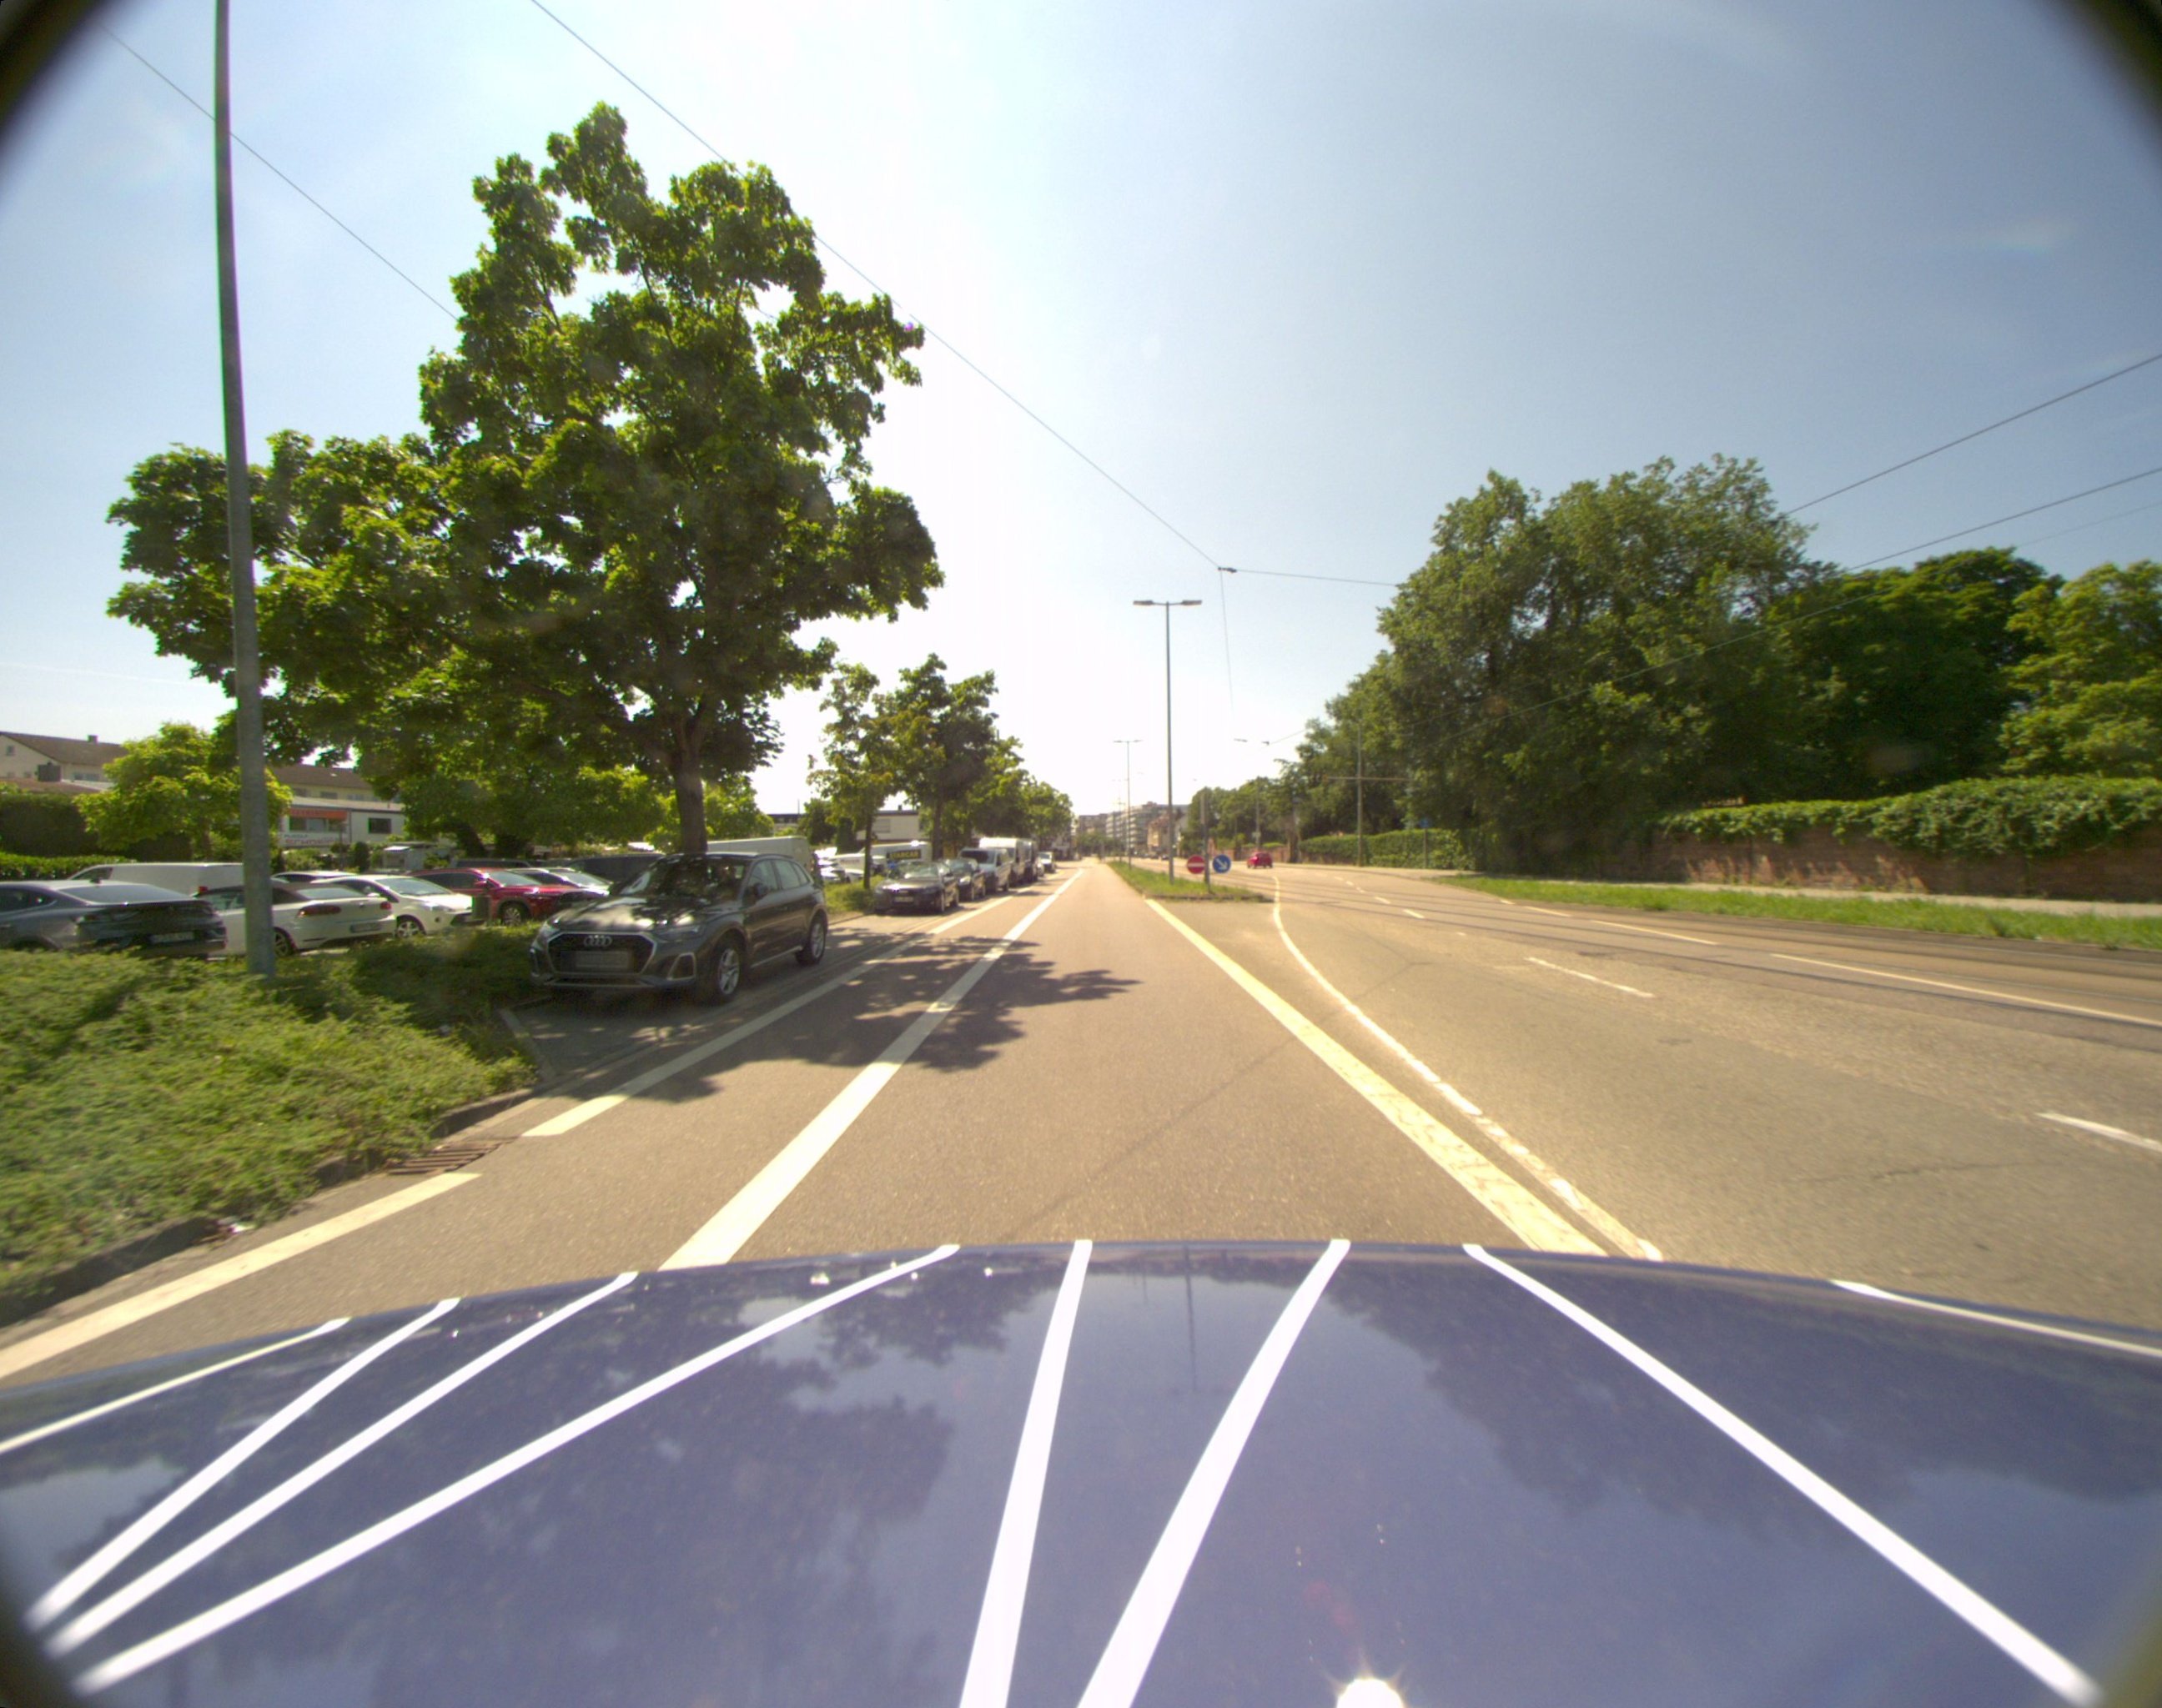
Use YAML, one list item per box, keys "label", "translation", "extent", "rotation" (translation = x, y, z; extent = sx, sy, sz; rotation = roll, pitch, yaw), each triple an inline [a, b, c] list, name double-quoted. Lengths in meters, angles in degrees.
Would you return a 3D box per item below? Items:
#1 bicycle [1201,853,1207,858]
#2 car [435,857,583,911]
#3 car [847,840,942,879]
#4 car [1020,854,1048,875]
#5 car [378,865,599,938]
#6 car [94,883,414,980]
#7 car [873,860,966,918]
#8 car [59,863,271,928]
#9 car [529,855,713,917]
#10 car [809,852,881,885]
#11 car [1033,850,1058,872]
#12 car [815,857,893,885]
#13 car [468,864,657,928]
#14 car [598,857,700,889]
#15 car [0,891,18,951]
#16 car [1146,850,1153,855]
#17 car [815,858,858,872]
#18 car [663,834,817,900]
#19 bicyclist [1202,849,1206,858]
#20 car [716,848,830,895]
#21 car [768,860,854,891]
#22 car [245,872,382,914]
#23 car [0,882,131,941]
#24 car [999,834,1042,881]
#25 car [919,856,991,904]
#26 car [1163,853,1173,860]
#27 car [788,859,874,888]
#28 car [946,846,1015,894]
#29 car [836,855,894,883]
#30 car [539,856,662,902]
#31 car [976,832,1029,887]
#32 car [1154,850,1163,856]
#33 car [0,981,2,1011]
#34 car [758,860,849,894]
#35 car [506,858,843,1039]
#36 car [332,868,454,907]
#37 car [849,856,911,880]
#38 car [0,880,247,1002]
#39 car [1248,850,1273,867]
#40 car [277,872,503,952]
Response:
- label: "bicycle"
  translation: [21.809, 0.251, 134.762]
  extent: [0.654, 0.951, 2.114]
  rotation: [-2, 0, -1]
- label: "car"
  translation: [-27.092, 1.376, 36.104]
  extent: [5.503, 2.445, 2.095]
  rotation: [0, 1, 2]
- label: "car"
  translation: [-13.966, 0.411, 57.073]
  extent: [6.355, 2.514, 2.264]
  rotation: [-3, 1, 4]
- label: "car"
  translation: [-3.511, 0.773, 57.504]
  extent: [1.726, 1.419, 4.209]
  rotation: [1, 0, 1]
- label: "car"
  translation: [-14.702, 1.141, 19.030]
  extent: [4.031, 1.482, 1.770]
  rotation: [-3, 1, -1]
- label: "car"
  translation: [-14.881, 1.360, 13.835]
  extent: [3.869, 1.350, 1.770]
  rotation: [-3, 0, 2]
- label: "car"
  translation: [-4.477, 0.921, 21.751]
  extent: [1.717, 1.410, 4.707]
  rotation: [1, 0, -1]
- label: "car"
  translation: [-26.954, 1.190, 22.474]
  extent: [4.010, 1.797, 1.753]
  rotation: [0, 1, -2]
- label: "car"
  translation: [-14.774, 0.994, 24.599]
  extent: [4.703, 1.635, 1.954]
  rotation: [-3, 1, 2]
- label: "car"
  translation: [-14.390, 0.866, 46.500]
  extent: [3.789, 1.774, 1.953]
  rotation: [-3, 1, -3]
- label: "car"
  translation: [-3.191, 0.618, 69.041]
  extent: [1.884, 1.905, 5.125]
  rotation: [1, 0, 2]
- label: "car"
  translation: [-14.613, 1.089, 49.100]
  extent: [4.418, 1.497, 1.954]
  rotation: [-3, 0, -2]
- label: "car"
  translation: [-14.568, 1.155, 21.530]
  extent: [4.031, 1.482, 1.770]
  rotation: [-3, 1, -1]
- label: "car"
  translation: [-26.692, 1.161, 47.084]
  extent: [5.108, 1.865, 2.095]
  rotation: [0, 1, 2]
- label: "car"
  translation: [-27.384, 1.591, 17.546]
  extent: [3.473, 1.420, 1.682]
  rotation: [0, 1, 3]
- label: "car"
  translation: [20.164, -0.356, 223.830]
  extent: [1.845, 1.408, 4.711]
  rotation: [-4, 0, 1]
- label: "car"
  translation: [-26.018, 1.147, 80.997]
  extent: [3.989, 1.428, 1.632]
  rotation: [0, 1, 2]
- label: "car"
  translation: [-14.441, 0.538, 32.424]
  extent: [5.503, 2.445, 2.095]
  rotation: [-3, 1, 2]
- label: "bicyclist"
  translation: [21.801, -0.106, 134.786]
  extent: [0.654, 1.488, 0.662]
  rotation: [-2, 1, -1]
- label: "car"
  translation: [-14.307, 0.783, 35.478]
  extent: [4.418, 1.898, 1.953]
  rotation: [-3, 1, -3]
- label: "car"
  translation: [-14.382, 1.128, 40.646]
  extent: [3.896, 1.398, 1.727]
  rotation: [-3, 1, -1]
- label: "car"
  translation: [-27.836, 1.394, 27.628]
  extent: [3.342, 1.420, 1.682]
  rotation: [0, 1, 3]
- label: "car"
  translation: [-27.878, 1.489, 20.166]
  extent: [3.342, 1.420, 1.682]
  rotation: [0, 1, 3]
- label: "car"
  translation: [-3.601, 0.188, 46.273]
  extent: [2.002, 2.621, 6.078]
  rotation: [1, 0, 1]
- label: "car"
  translation: [-4.379, 0.847, 26.884]
  extent: [1.716, 1.532, 3.840]
  rotation: [1, 0, 3]
- label: "car"
  translation: [18.344, 0.456, 160.337]
  extent: [1.760, 1.440, 4.123]
  rotation: [-3, 0, 3]
- label: "car"
  translation: [-14.209, 1.092, 43.365]
  extent: [4.287, 1.398, 1.727]
  rotation: [-3, 1, -1]
- label: "car"
  translation: [-4.182, 0.624, 32.597]
  extent: [2.002, 1.867, 5.276]
  rotation: [1, 0, 3]
- label: "car"
  translation: [-14.708, 0.999, 51.807]
  extent: [3.380, 1.707, 1.728]
  rotation: [-3, 1, 1]
- label: "car"
  translation: [-26.545, 1.368, 42.063]
  extent: [5.503, 2.445, 2.095]
  rotation: [0, 1, 2]
- label: "car"
  translation: [-3.974, 0.251, 39.529]
  extent: [2.002, 2.621, 6.142]
  rotation: [1, 0, 1]
- label: "car"
  translation: [19.350, -0.204, 189.993]
  extent: [1.845, 1.408, 5.034]
  rotation: [-4, 0, 1]
- label: "car"
  translation: [-15.571, 1.358, 8.650]
  extent: [3.870, 1.481, 1.769]
  rotation: [-3, 1, -1]
- label: "car"
  translation: [-13.969, 1.140, 38.371]
  extent: [3.897, 1.398, 1.727]
  rotation: [-3, 1, -4]
- label: "car"
  translation: [-4.675, 0.925, 9.692]
  extent: [1.716, 1.623, 4.707]
  rotation: [1, 1, 1]
- label: "car"
  translation: [-27.097, 1.303, 29.981]
  extent: [3.342, 1.420, 1.682]
  rotation: [0, 1, 3]
- label: "car"
  translation: [-14.307, 0.992, 54.238]
  extent: [3.896, 1.463, 1.727]
  rotation: [-3, 1, -1]
- label: "car"
  translation: [-15.064, 1.263, 10.995]
  extent: [3.870, 1.481, 1.769]
  rotation: [-3, 1, -1]
- label: "car"
  translation: [16.349, 0.374, 69.323]
  extent: [1.710, 1.405, 4.283]
  rotation: [-2, 0, 7]
- label: "car"
  translation: [-14.976, 1.231, 16.601]
  extent: [3.342, 1.420, 1.682]
  rotation: [-3, 1, 2]
